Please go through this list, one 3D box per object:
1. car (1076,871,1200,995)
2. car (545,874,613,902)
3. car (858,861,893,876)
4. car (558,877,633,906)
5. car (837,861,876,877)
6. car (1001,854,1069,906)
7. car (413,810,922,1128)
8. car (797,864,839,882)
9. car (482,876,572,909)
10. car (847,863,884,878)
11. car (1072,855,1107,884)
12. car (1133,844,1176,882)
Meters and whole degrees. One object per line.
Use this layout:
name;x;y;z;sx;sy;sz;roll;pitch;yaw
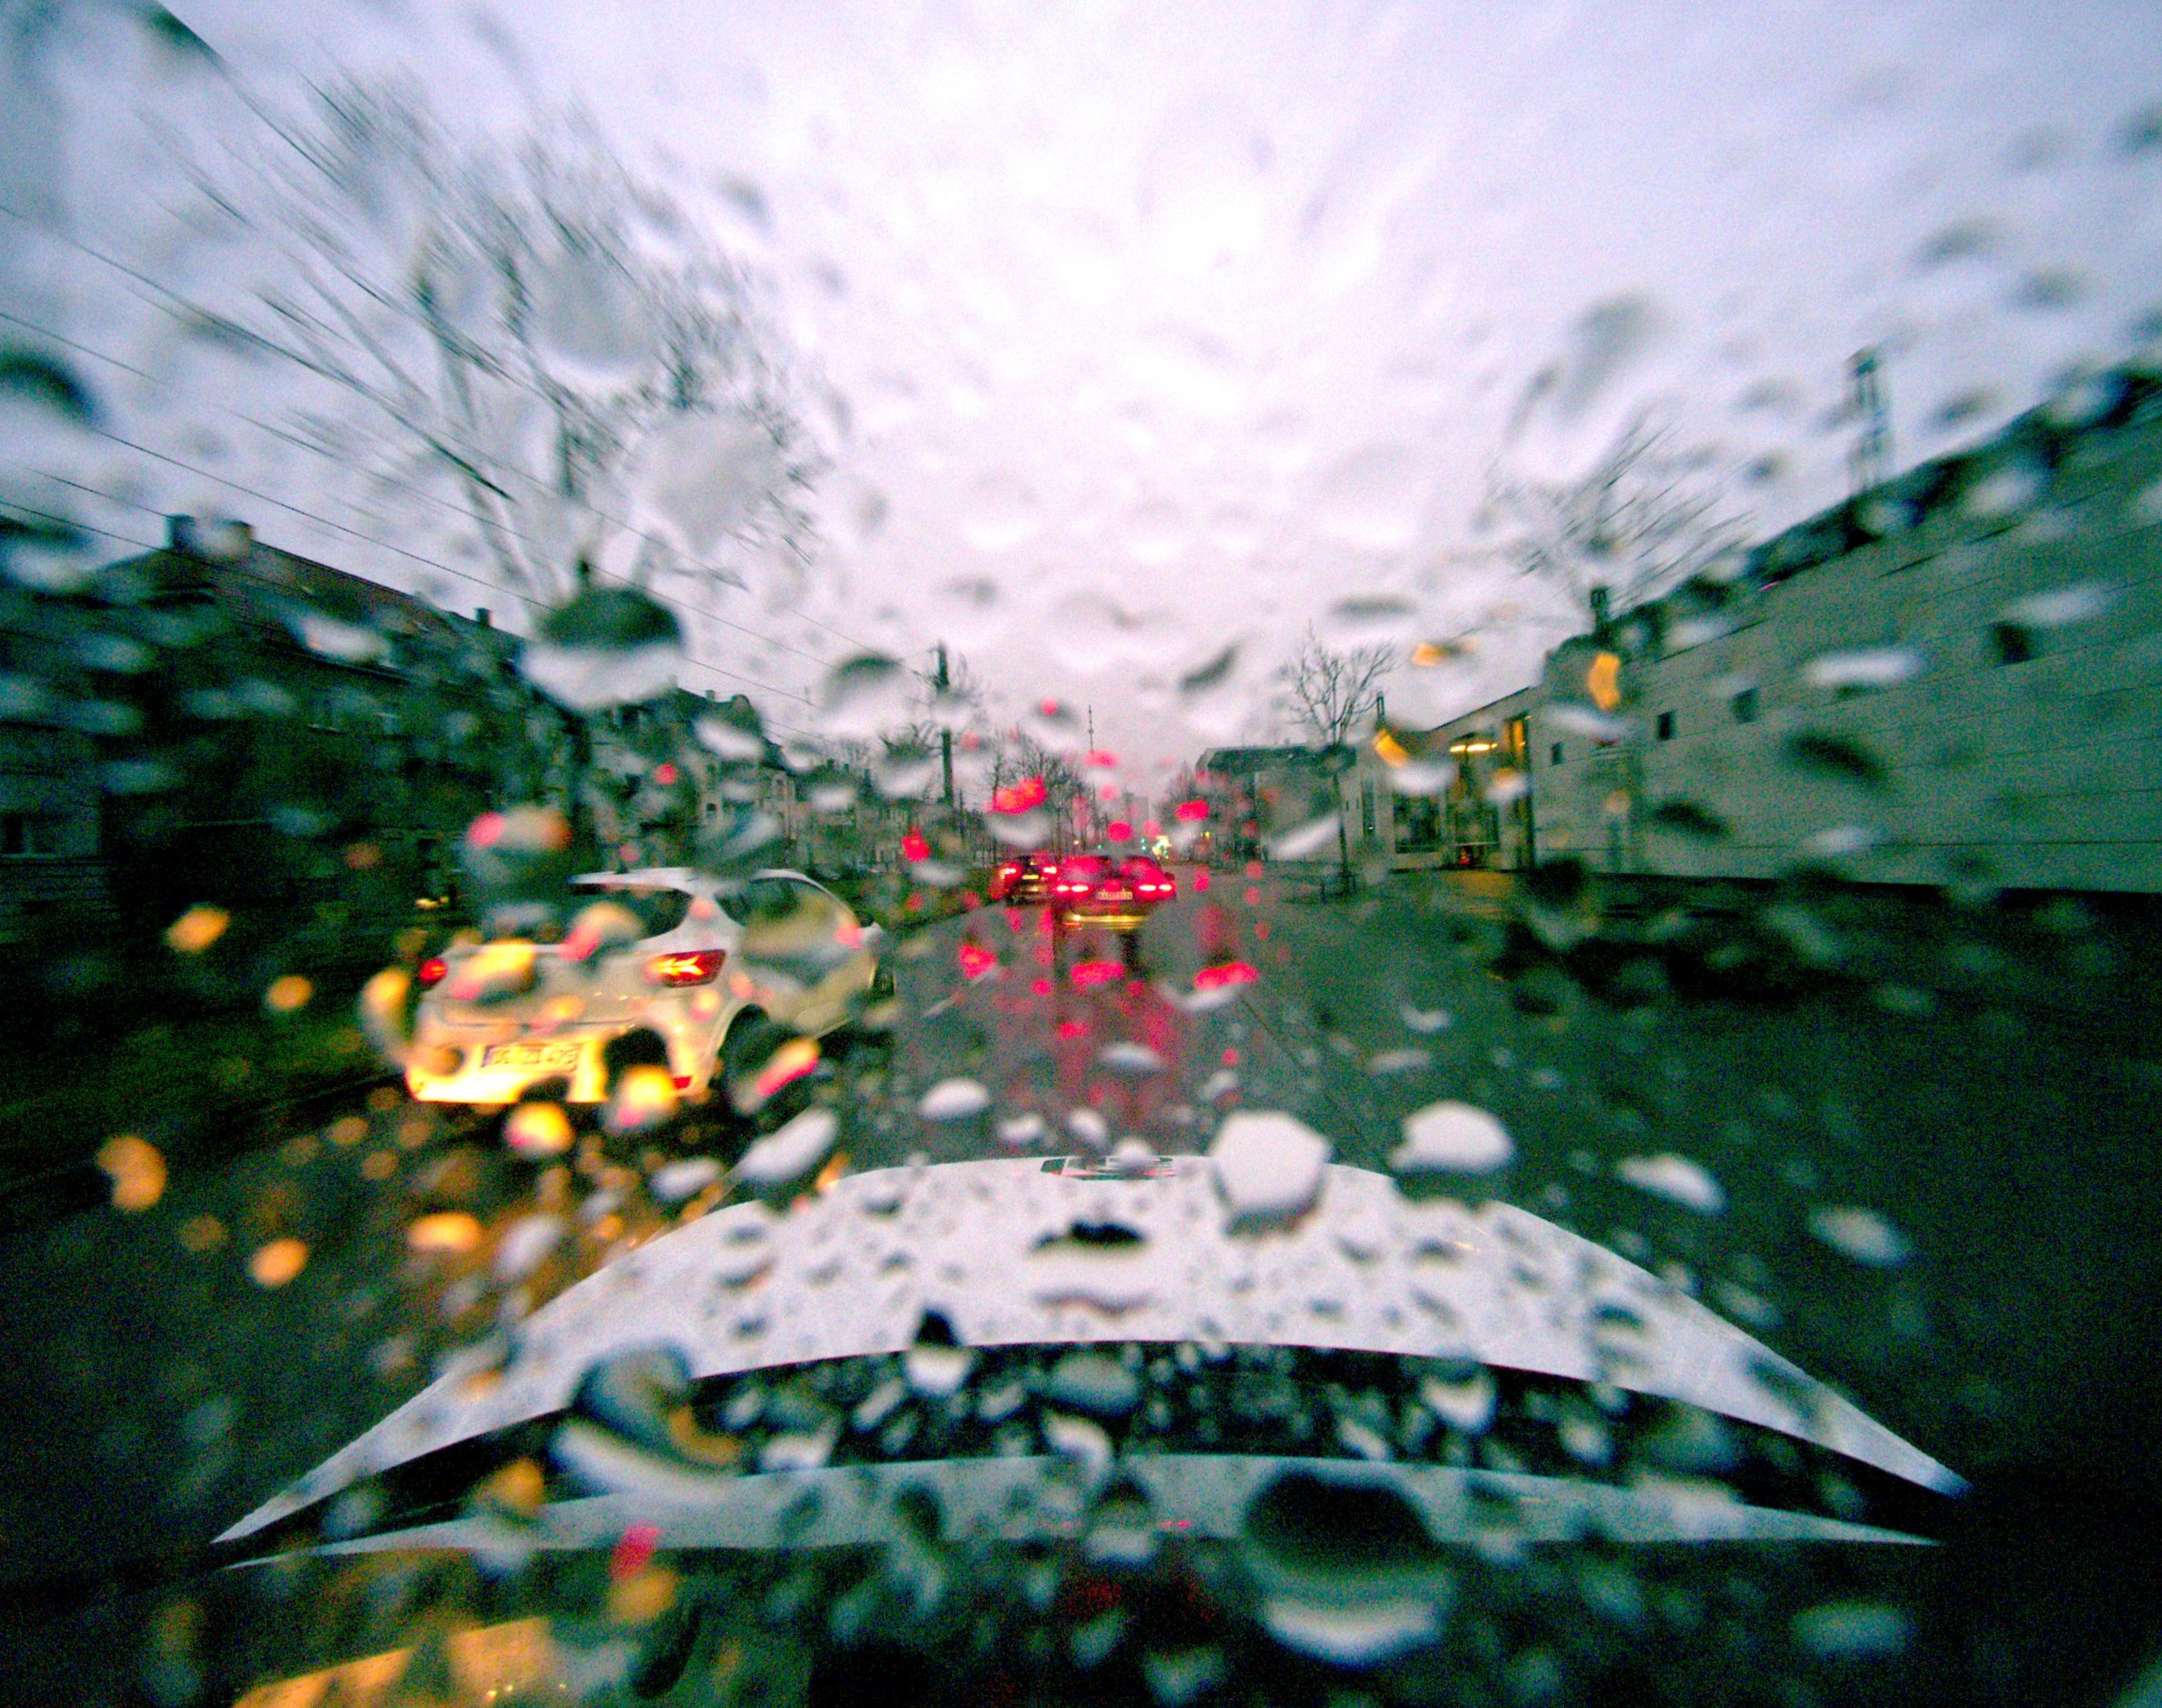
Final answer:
car;0.964;1.142;13.253;1.664;1.600;4.059;-1;0;5
car;-31.040;2.057;50.498;1.768;1.500;3.561;-3;0;4
car;-21.588;1.535;85.536;3.510;1.354;1.793;-3;0;38
car;-26.757;2.035;44.973;1.768;1.354;3.561;-3;0;4
car;-21.741;1.444;78.834;3.510;1.354;1.793;-3;0;38
car;-1.476;0.815;27.561;1.664;1.600;4.059;-1;0;5
car;-2.532;0.600;6.217;1.665;1.600;4.055;-1;0;2
car;-23.051;1.672;71.372;3.510;1.354;1.793;-3;0;38
car;-27.126;1.876;40.044;1.768;1.354;3.561;-3;0;4
car;-21.709;1.685;81.968;3.510;1.354;1.793;-3;0;38
car;0.536;0.863;46.904;1.664;1.600;4.059;-1;0;5
car;3.715;0.425;41.178;1.984;1.744;4.006;-2;0;5
